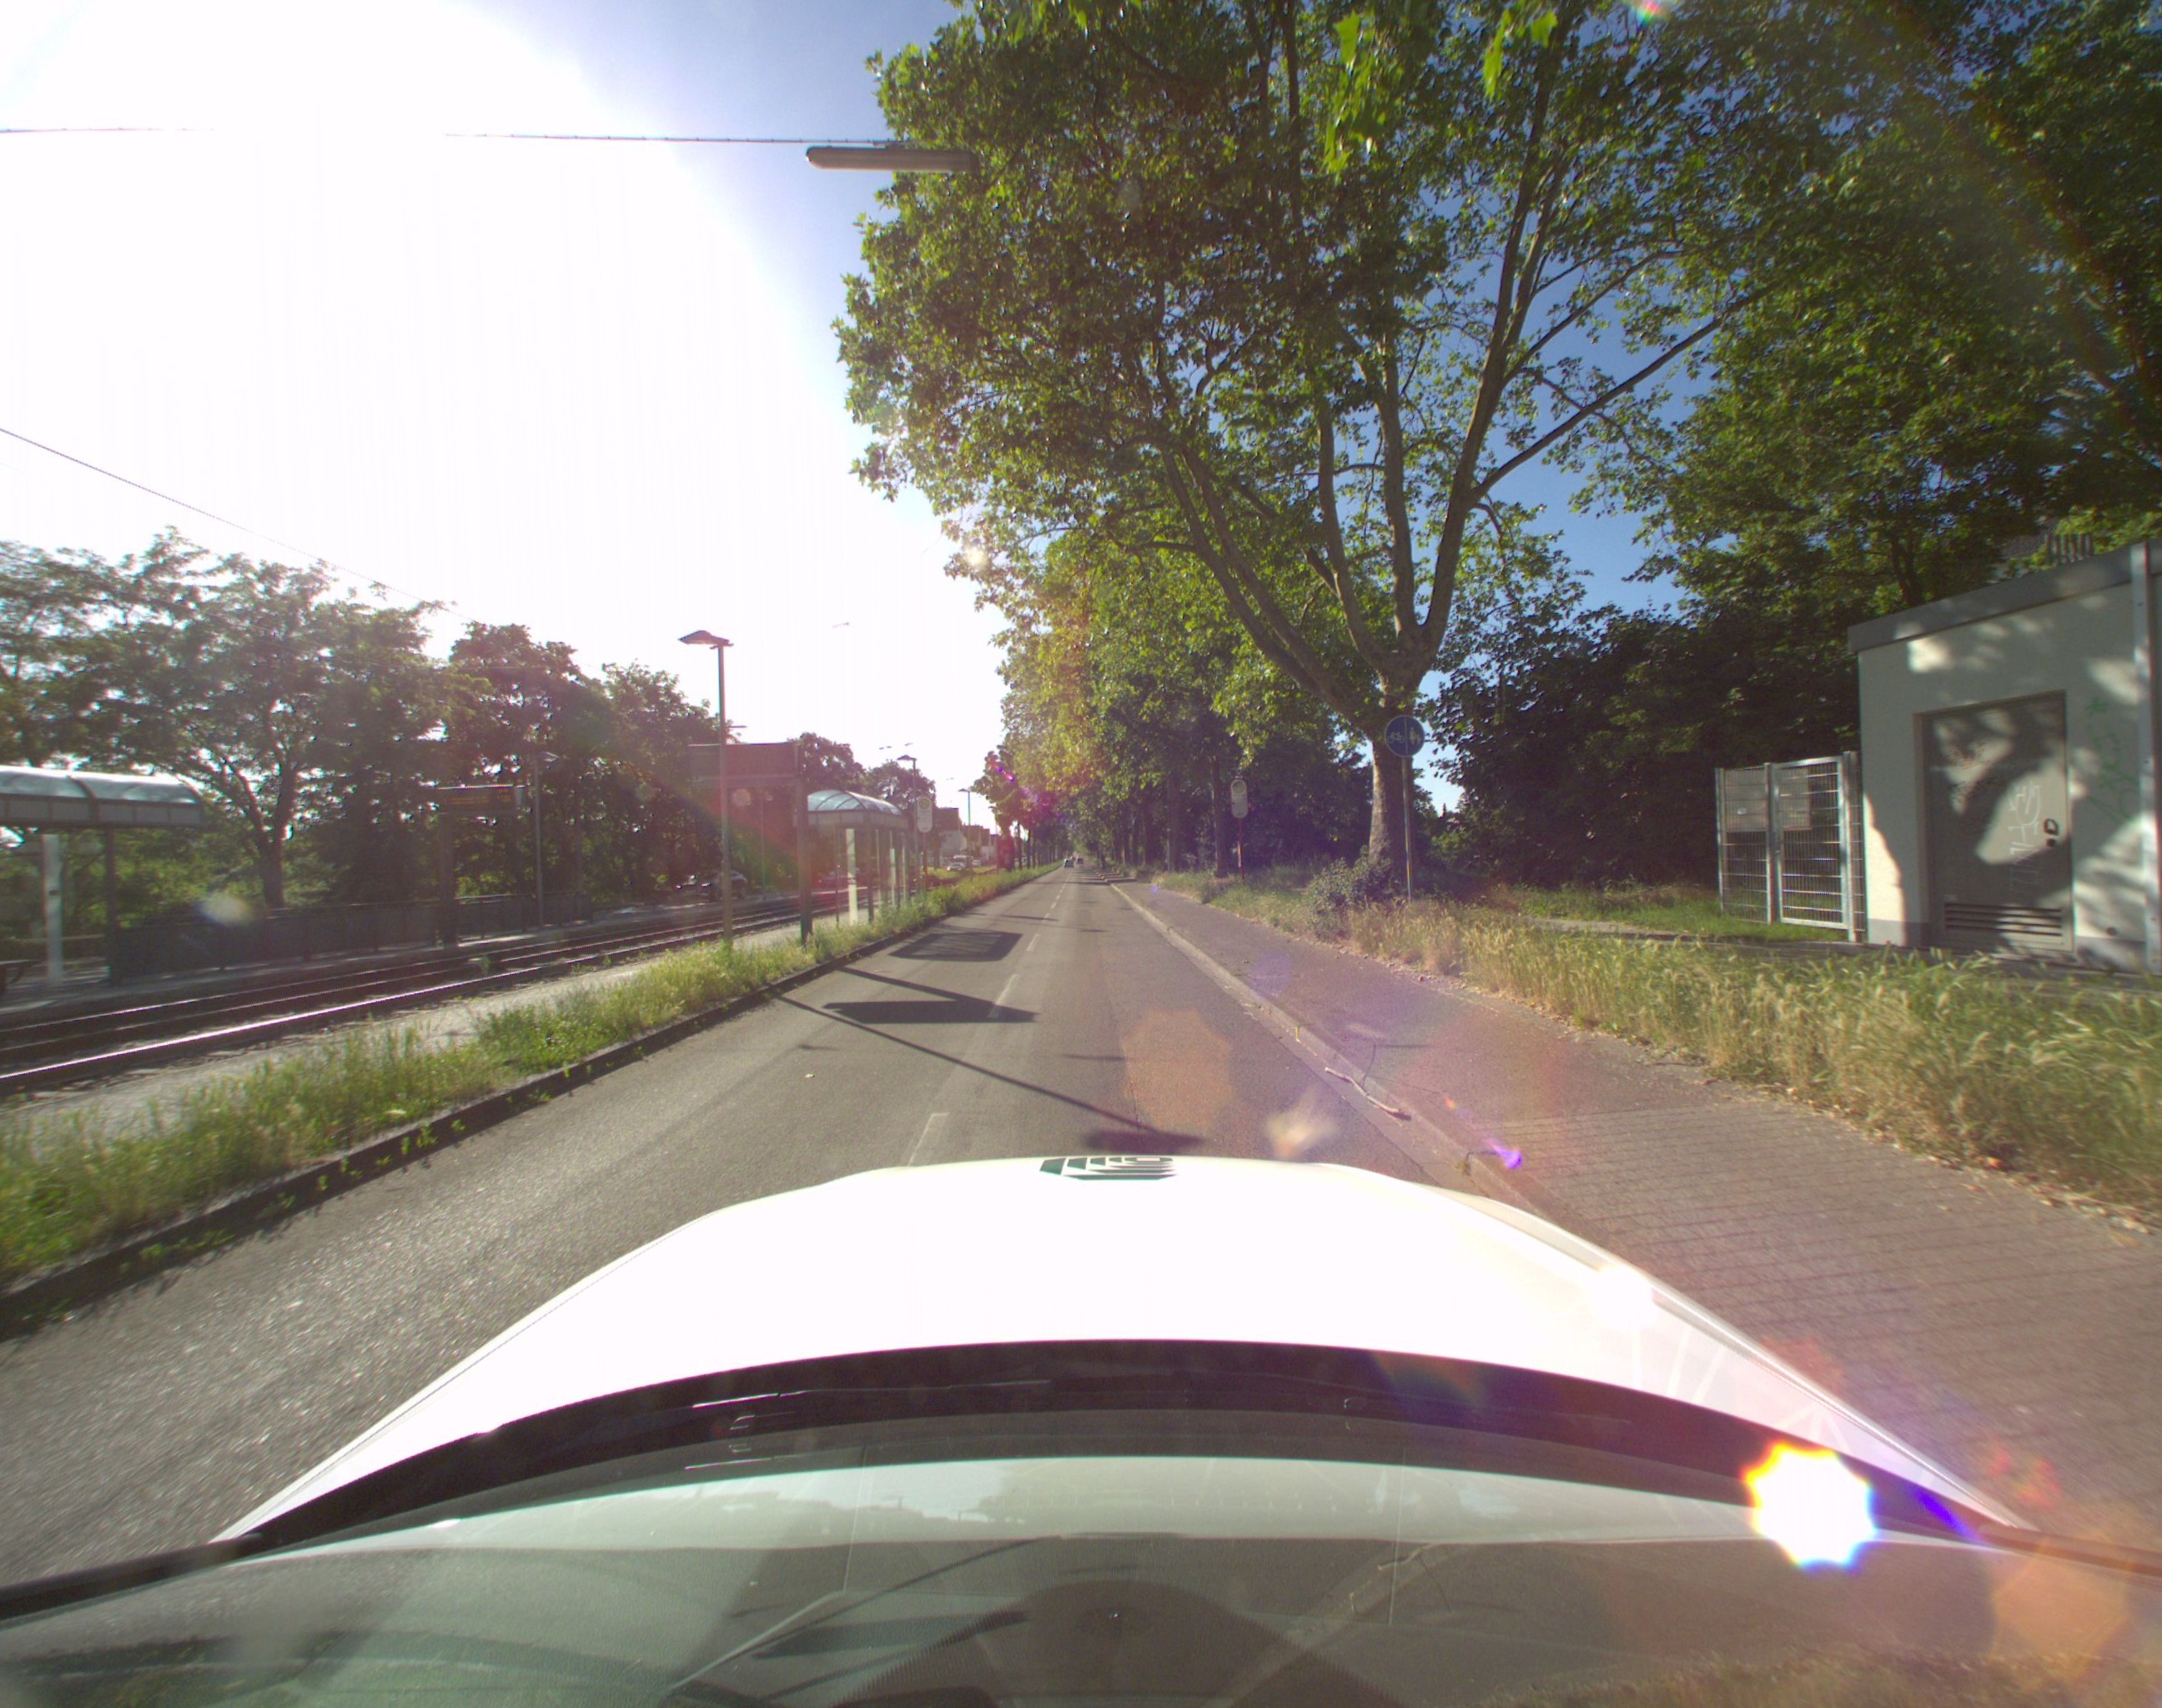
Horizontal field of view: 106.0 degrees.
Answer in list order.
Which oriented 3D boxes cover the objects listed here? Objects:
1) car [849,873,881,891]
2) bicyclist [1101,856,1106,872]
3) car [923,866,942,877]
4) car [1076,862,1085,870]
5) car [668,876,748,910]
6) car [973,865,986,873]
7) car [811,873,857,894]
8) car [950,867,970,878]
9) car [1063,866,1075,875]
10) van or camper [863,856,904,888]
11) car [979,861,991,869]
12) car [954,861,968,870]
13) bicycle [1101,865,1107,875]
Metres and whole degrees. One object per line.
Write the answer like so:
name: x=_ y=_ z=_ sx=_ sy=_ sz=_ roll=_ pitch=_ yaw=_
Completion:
car: x=-21.128 y=2.759 z=79.801 sx=1.913 sy=1.562 sz=4.002 roll=-3 pitch=-1 yaw=2
bicyclist: x=2.512 y=1.078 z=90.805 sx=0.533 sy=1.770 sz=0.712 roll=-2 pitch=-1 yaw=-2
car: x=-21.706 y=2.566 z=119.359 sx=1.914 sy=1.577 sz=4.001 roll=-2 pitch=-1 yaw=1
car: x=-0.103 y=2.591 z=178.173 sx=1.745 sy=1.604 sz=3.749 roll=-1 pitch=0 yaw=0
car: x=-18.408 y=1.872 z=40.390 sx=1.988 sy=1.469 sz=4.373 roll=-2 pitch=-1 yaw=-1
car: x=-20.590 y=2.985 z=164.833 sx=1.914 sy=1.438 sz=4.001 roll=-3 pitch=-1 yaw=1
car: x=-18.714 y=2.210 z=61.894 sx=1.987 sy=1.469 sz=4.376 roll=-2 pitch=-1 yaw=1
car: x=-15.958 y=2.459 z=107.635 sx=1.914 sy=1.266 sz=4.001 roll=-3 pitch=-1 yaw=1
car: x=-1.969 y=2.735 z=135.245 sx=1.861 sy=1.486 sz=3.555 roll=-2 pitch=-1 yaw=0
van or camper: x=-21.008 y=1.882 z=86.850 sx=2.581 sy=3.106 sz=6.786 roll=-2 pitch=-1 yaw=0
car: x=-20.969 y=2.305 z=178.371 sx=1.986 sy=1.643 sz=4.002 roll=-3 pitch=-1 yaw=2
car: x=-21.319 y=2.000 z=144.599 sx=1.738 sy=1.496 sz=3.593 roll=-2 pitch=-1 yaw=1
bicycle: x=2.543 y=1.742 z=90.755 sx=0.535 sy=1.066 sz=1.432 roll=-2 pitch=-1 yaw=-2
